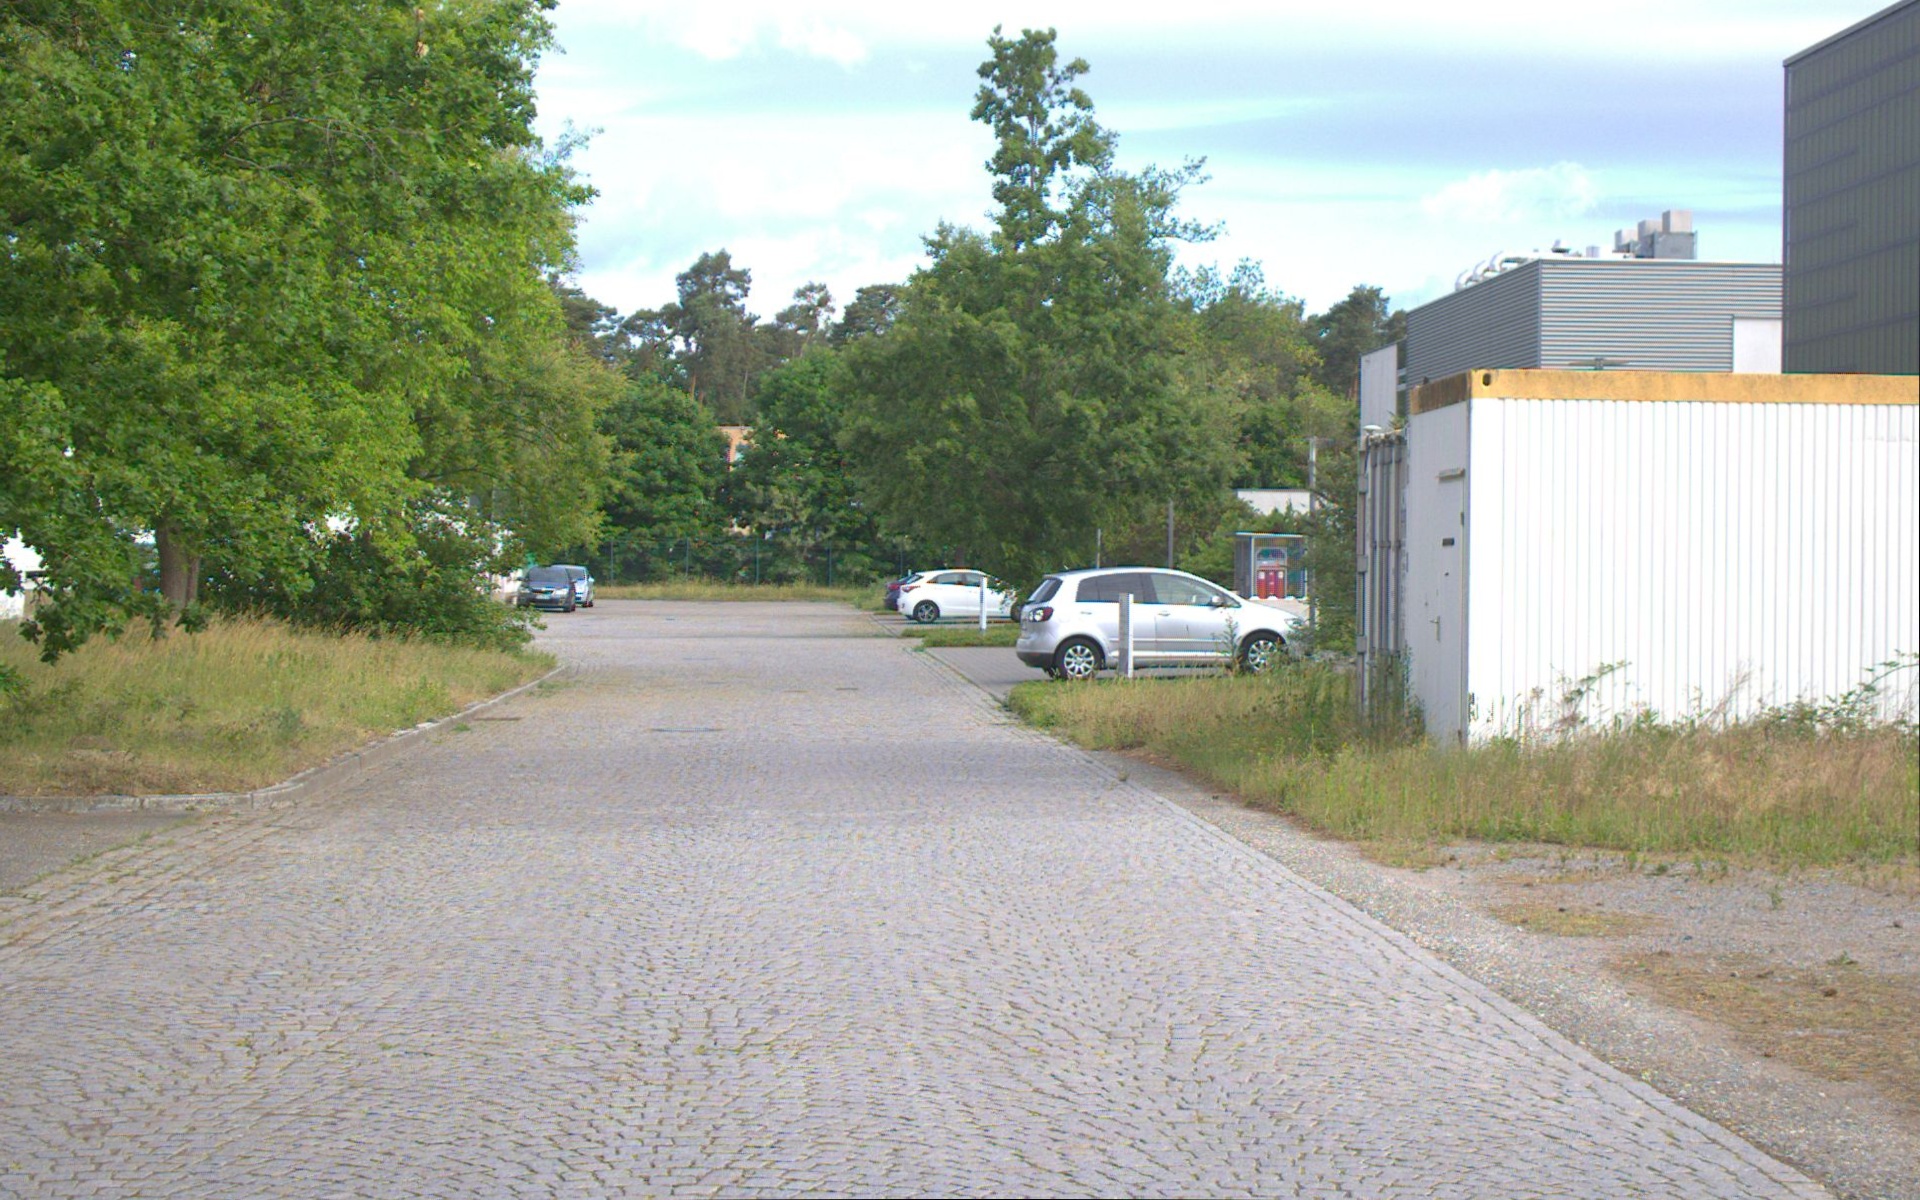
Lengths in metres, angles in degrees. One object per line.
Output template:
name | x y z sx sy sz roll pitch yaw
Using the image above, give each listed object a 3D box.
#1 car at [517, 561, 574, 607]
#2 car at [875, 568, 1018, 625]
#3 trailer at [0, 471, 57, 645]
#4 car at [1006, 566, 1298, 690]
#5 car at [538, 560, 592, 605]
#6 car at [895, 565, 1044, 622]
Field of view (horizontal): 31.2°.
car | -13.569 -0.534 112.624 1.734 1.464 4.046 1 0 -5
car | -0.395 -0.114 99.756 3.986 1.596 1.729 1 0 -6
trailer | -18.364 -0.755 59.778 3.158 3.057 8.784 1 1 -1
car | 2.657 0.380 48.132 3.849 1.649 1.686 1 0 -6
car | -13.987 -0.639 121.973 1.803 1.529 4.001 1 0 -5
car | 0.246 -0.175 94.225 4.025 1.496 1.548 1 0 -2
